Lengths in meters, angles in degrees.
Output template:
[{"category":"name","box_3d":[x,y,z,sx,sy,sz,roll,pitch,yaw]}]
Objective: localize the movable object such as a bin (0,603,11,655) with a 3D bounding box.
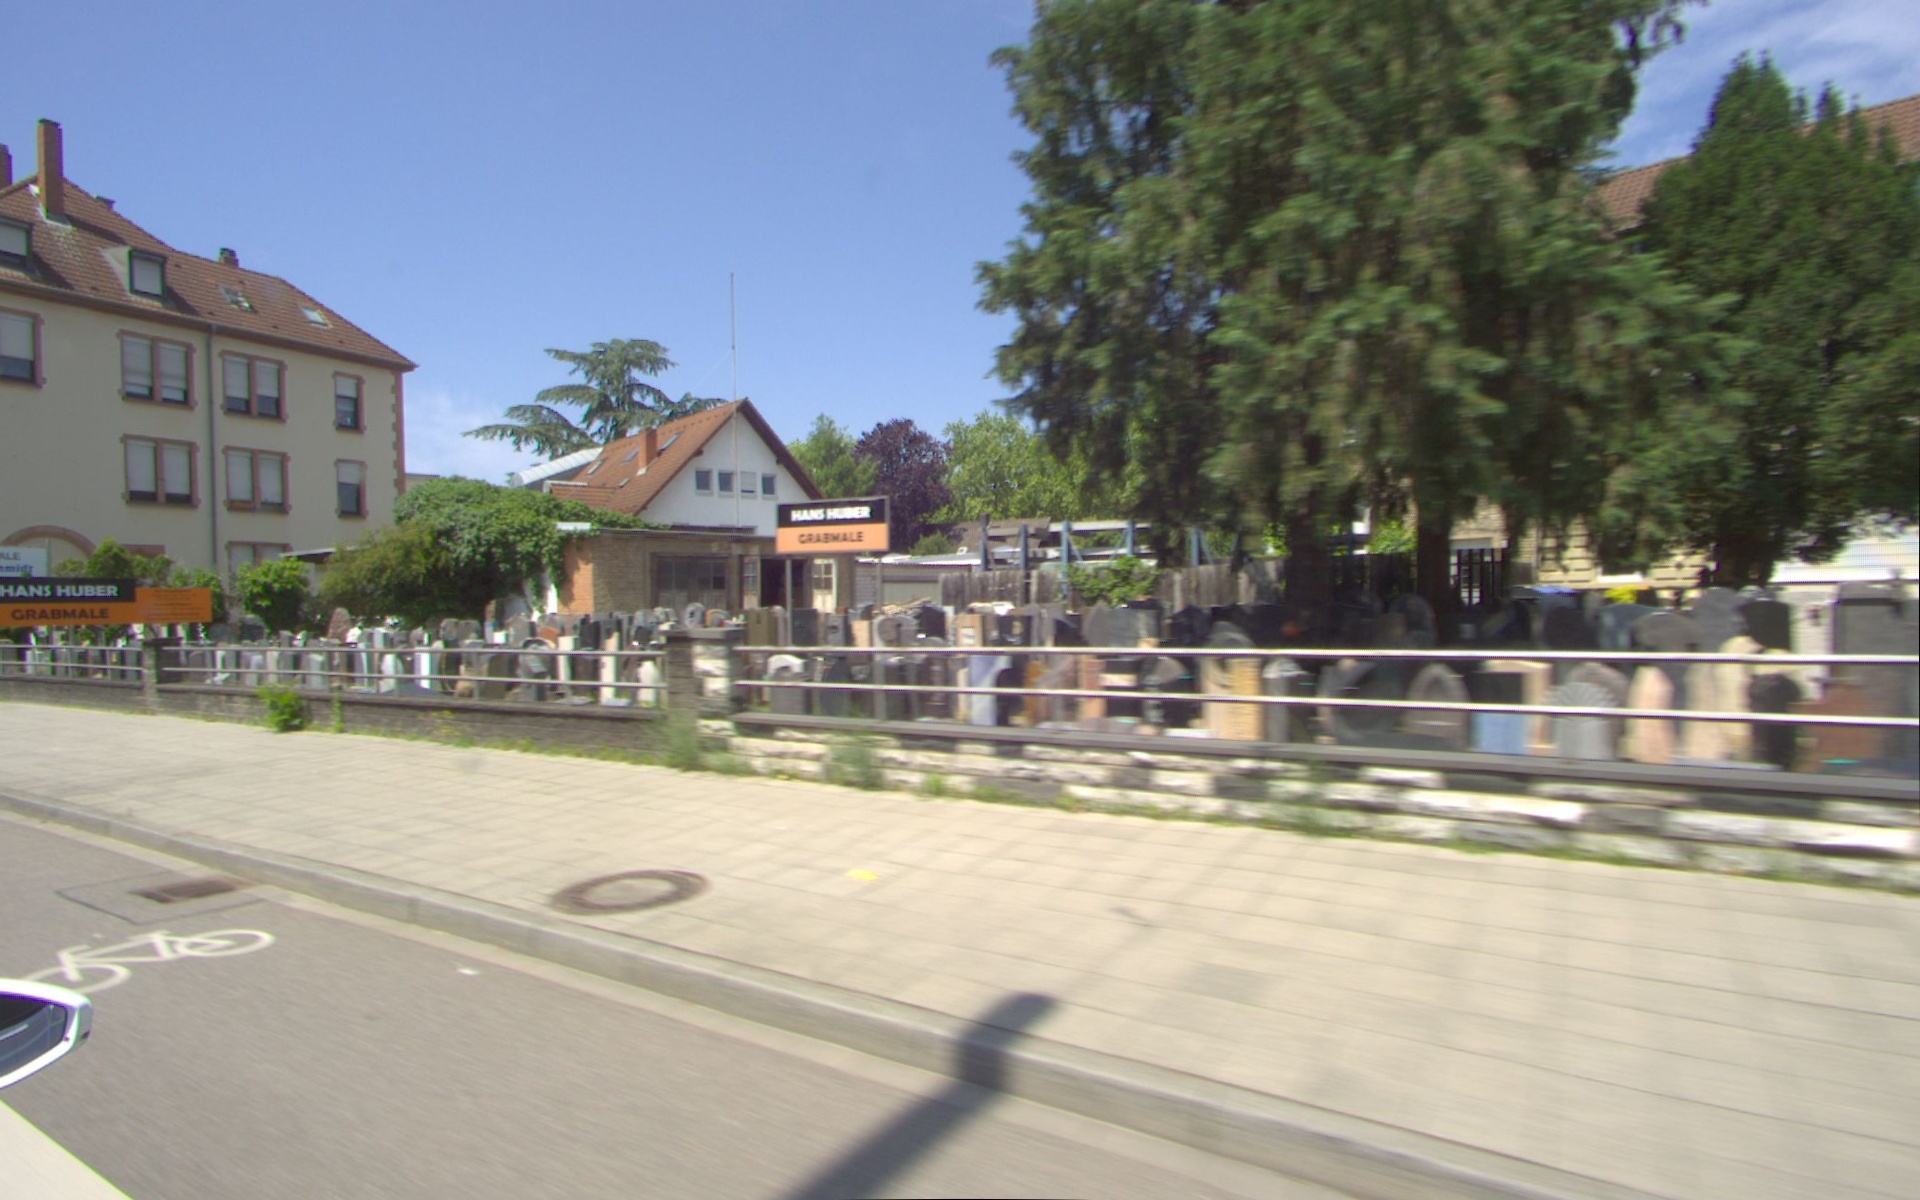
[{"category":"movable object such as a bin","box_3d":[-28.661,0.872,29.063,1.031,1.519,1.326,0,2,30]}]
